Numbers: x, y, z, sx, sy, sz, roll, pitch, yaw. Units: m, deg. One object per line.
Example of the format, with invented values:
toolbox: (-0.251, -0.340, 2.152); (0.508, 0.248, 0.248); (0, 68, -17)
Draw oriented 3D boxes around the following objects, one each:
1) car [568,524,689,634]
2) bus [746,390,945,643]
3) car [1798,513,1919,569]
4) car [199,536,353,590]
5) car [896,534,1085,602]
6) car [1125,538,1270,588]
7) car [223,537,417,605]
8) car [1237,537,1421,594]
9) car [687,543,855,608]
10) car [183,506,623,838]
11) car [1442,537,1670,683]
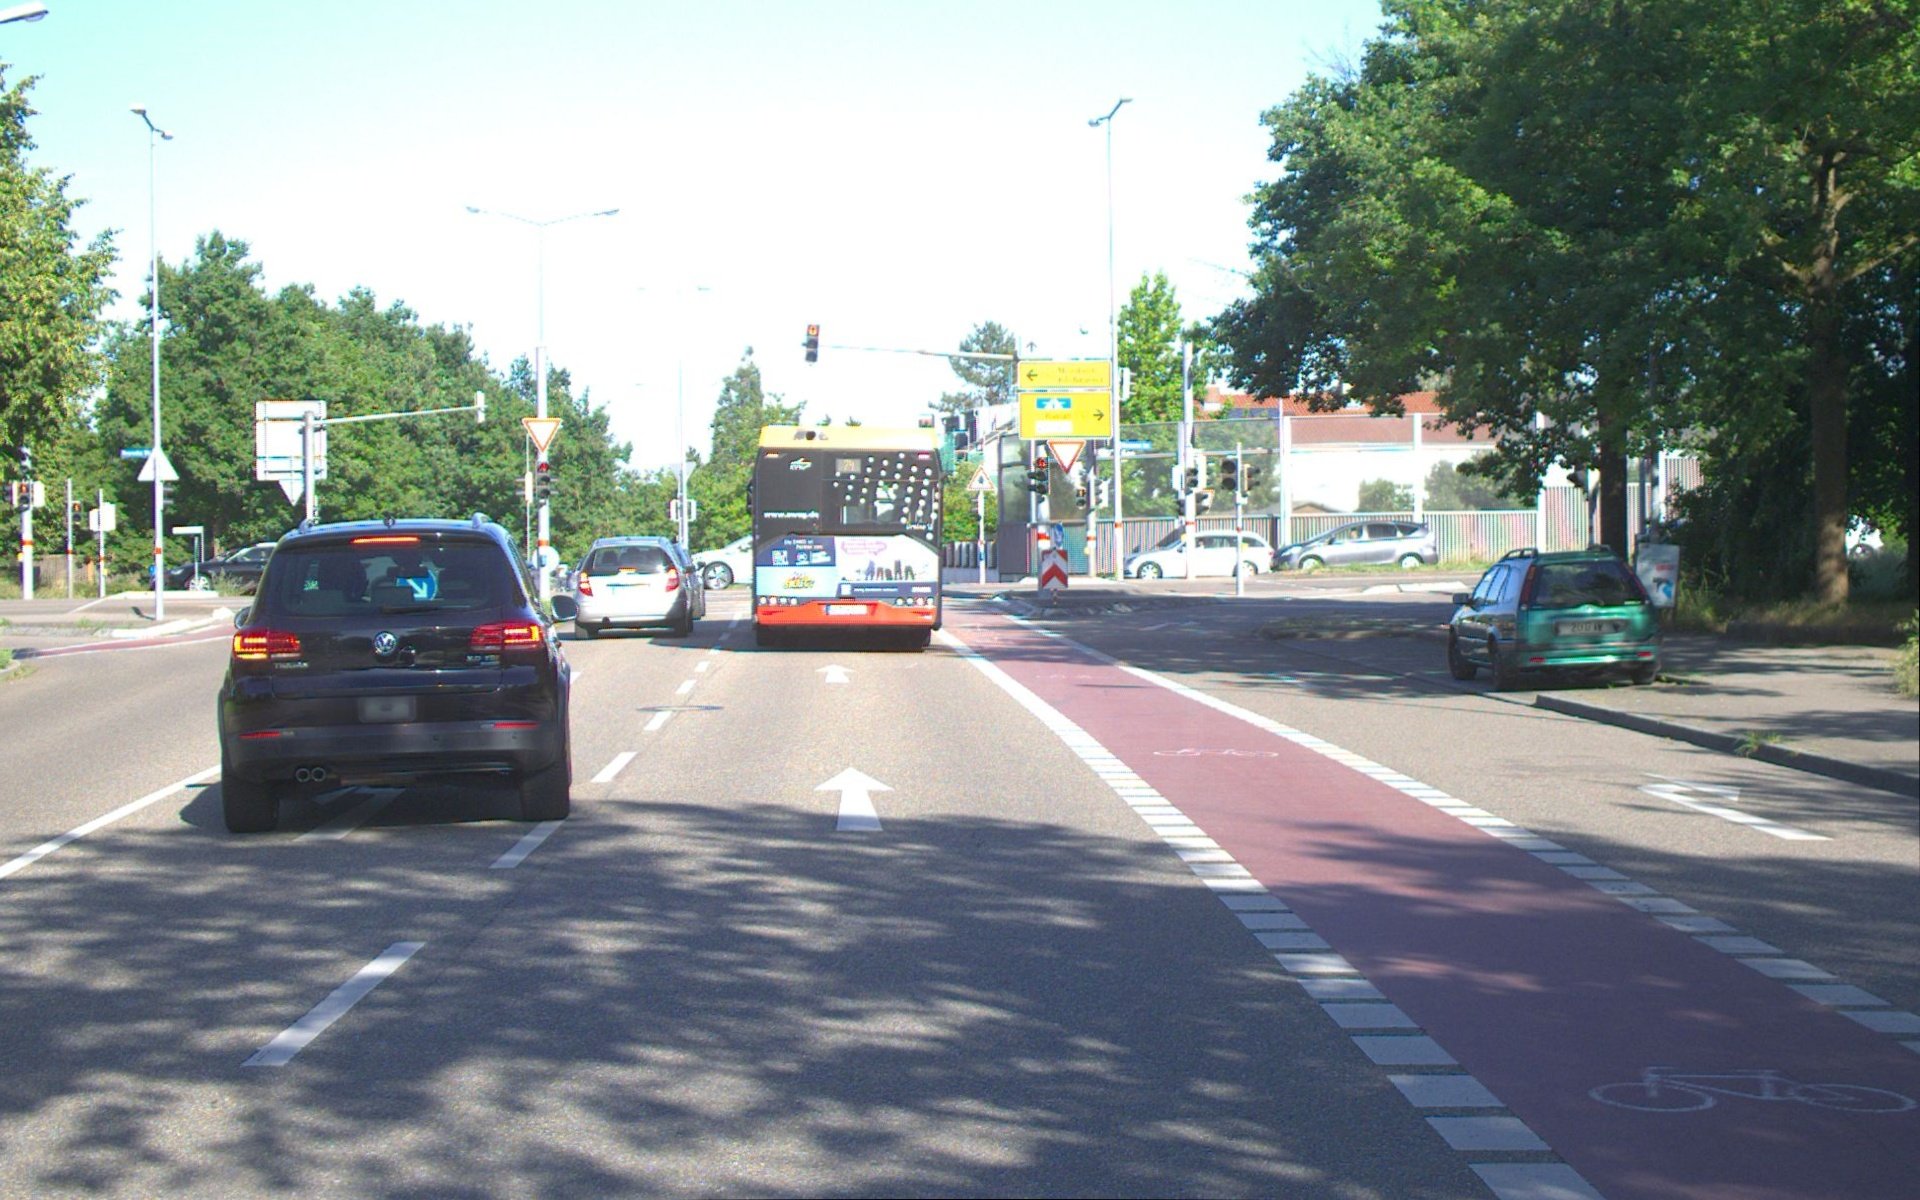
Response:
car: (-5.328, -0.371, 54.907); (1.753, 1.614, 4.035); (-1, 2, -8)
bus: (-1.734, -1.230, 51.461); (2.596, 3.323, 11.985); (1, 1, -2)
car: (26.112, -1.652, 96.351); (4.701, 1.535, 2.000); (0, 1, -5)
car: (-17.918, -0.962, 90.187); (3.891, 1.335, 1.683); (1, 0, -10)
car: (0.612, -0.629, 66.956); (3.523, 1.297, 1.574); (0, 1, 7)
car: (6.700, -1.045, 97.206); (3.845, 1.335, 1.683); (1, 0, -7)
car: (-14.588, -0.660, 78.486); (4.220, 1.475, 1.764); (1, 0, -6)
car: (10.127, -0.966, 94.569); (4.701, 1.535, 2.001); (0, 1, -8)
car: (-5.088, -0.644, 92.123); (4.383, 1.677, 1.712); (1, 0, -6)
car: (-3.026, 0.356, 19.481); (1.821, 1.668, 4.003); (-1, 0, 0)
car: (6.319, 0.075, 36.841); (1.592, 1.424, 4.204); (-2, 1, -1)
